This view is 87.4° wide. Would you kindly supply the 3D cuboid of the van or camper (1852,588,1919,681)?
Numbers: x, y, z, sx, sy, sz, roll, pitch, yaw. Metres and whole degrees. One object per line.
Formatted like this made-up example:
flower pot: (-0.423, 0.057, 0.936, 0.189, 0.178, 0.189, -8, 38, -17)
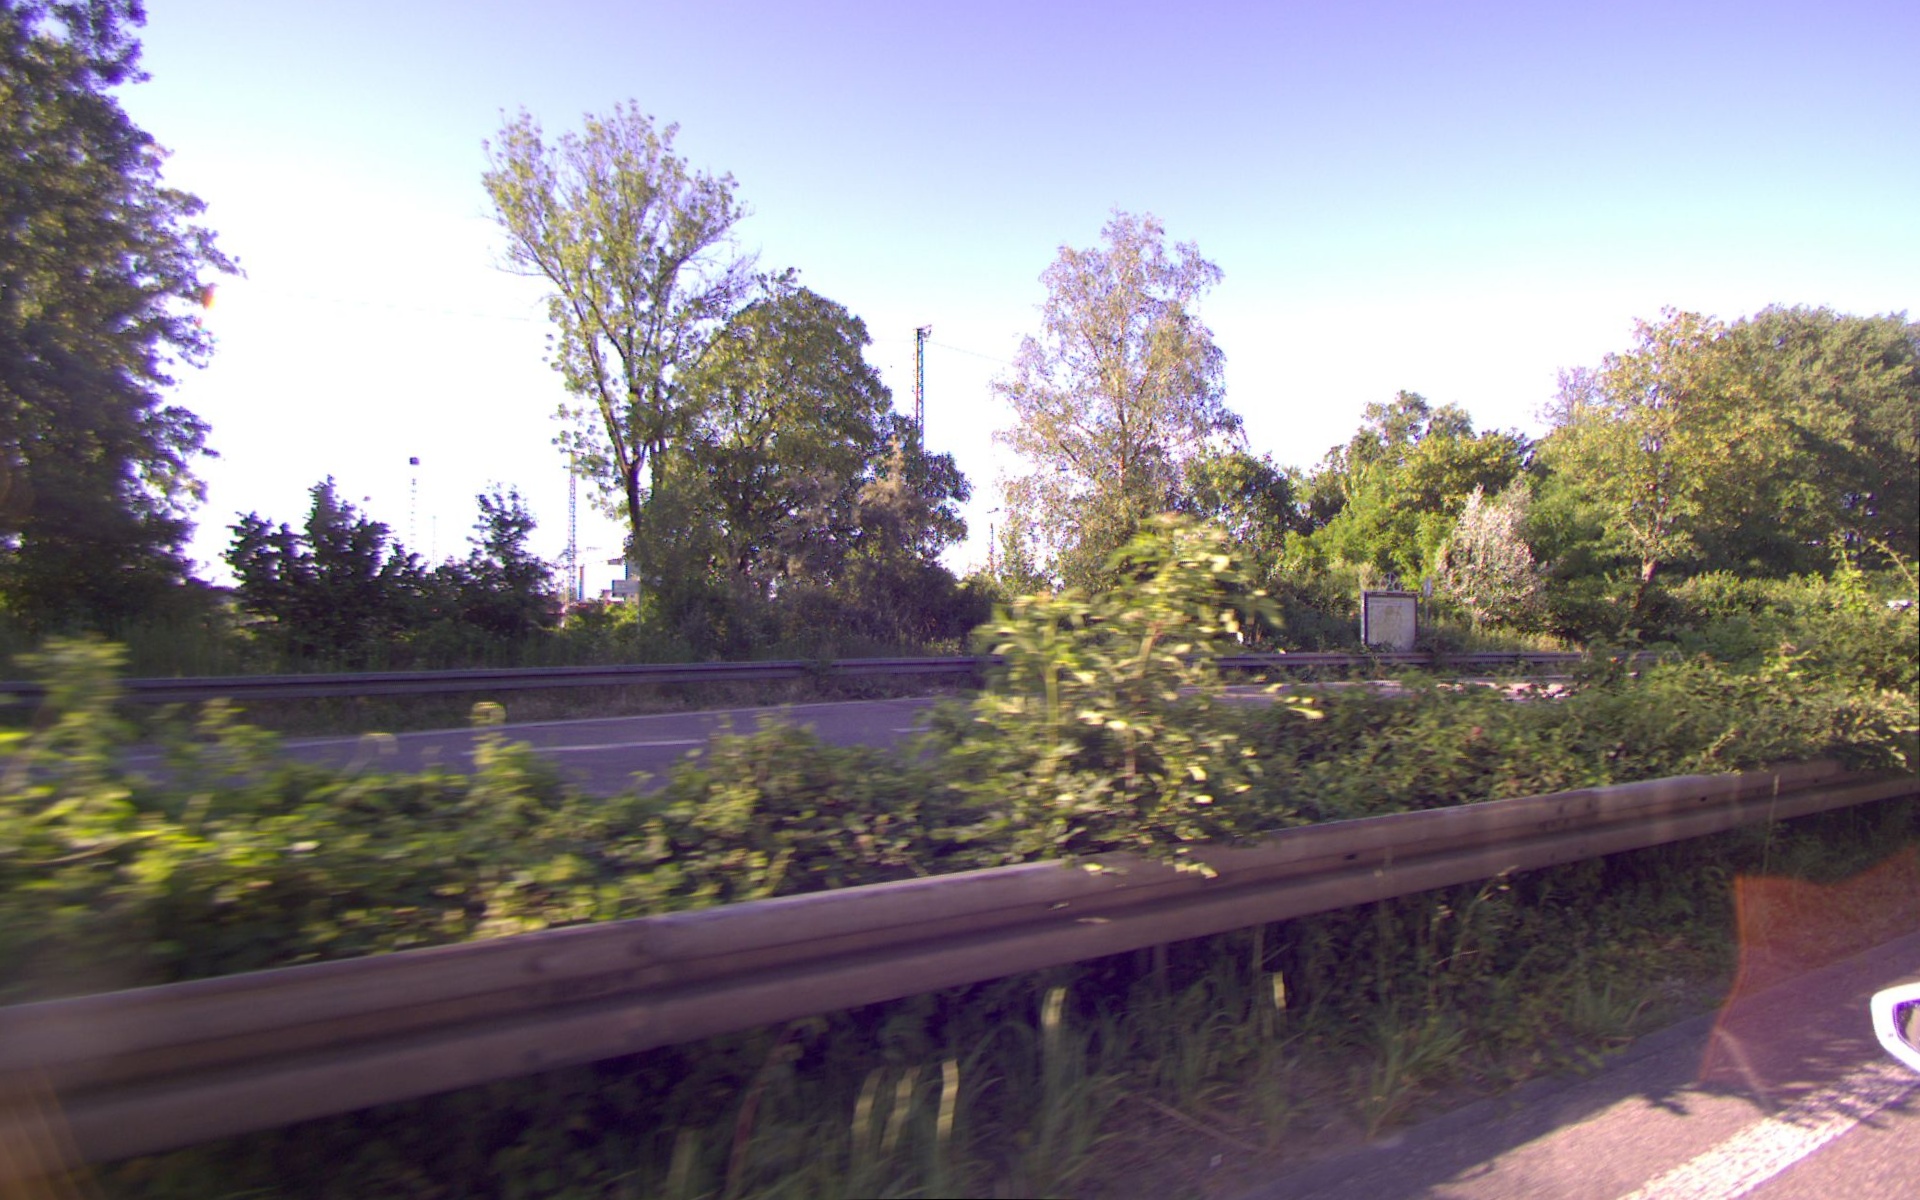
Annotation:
van or camper: (30.280, 1.075, 31.494, 5.192, 2.758, 1.984, 1, -1, -30)
